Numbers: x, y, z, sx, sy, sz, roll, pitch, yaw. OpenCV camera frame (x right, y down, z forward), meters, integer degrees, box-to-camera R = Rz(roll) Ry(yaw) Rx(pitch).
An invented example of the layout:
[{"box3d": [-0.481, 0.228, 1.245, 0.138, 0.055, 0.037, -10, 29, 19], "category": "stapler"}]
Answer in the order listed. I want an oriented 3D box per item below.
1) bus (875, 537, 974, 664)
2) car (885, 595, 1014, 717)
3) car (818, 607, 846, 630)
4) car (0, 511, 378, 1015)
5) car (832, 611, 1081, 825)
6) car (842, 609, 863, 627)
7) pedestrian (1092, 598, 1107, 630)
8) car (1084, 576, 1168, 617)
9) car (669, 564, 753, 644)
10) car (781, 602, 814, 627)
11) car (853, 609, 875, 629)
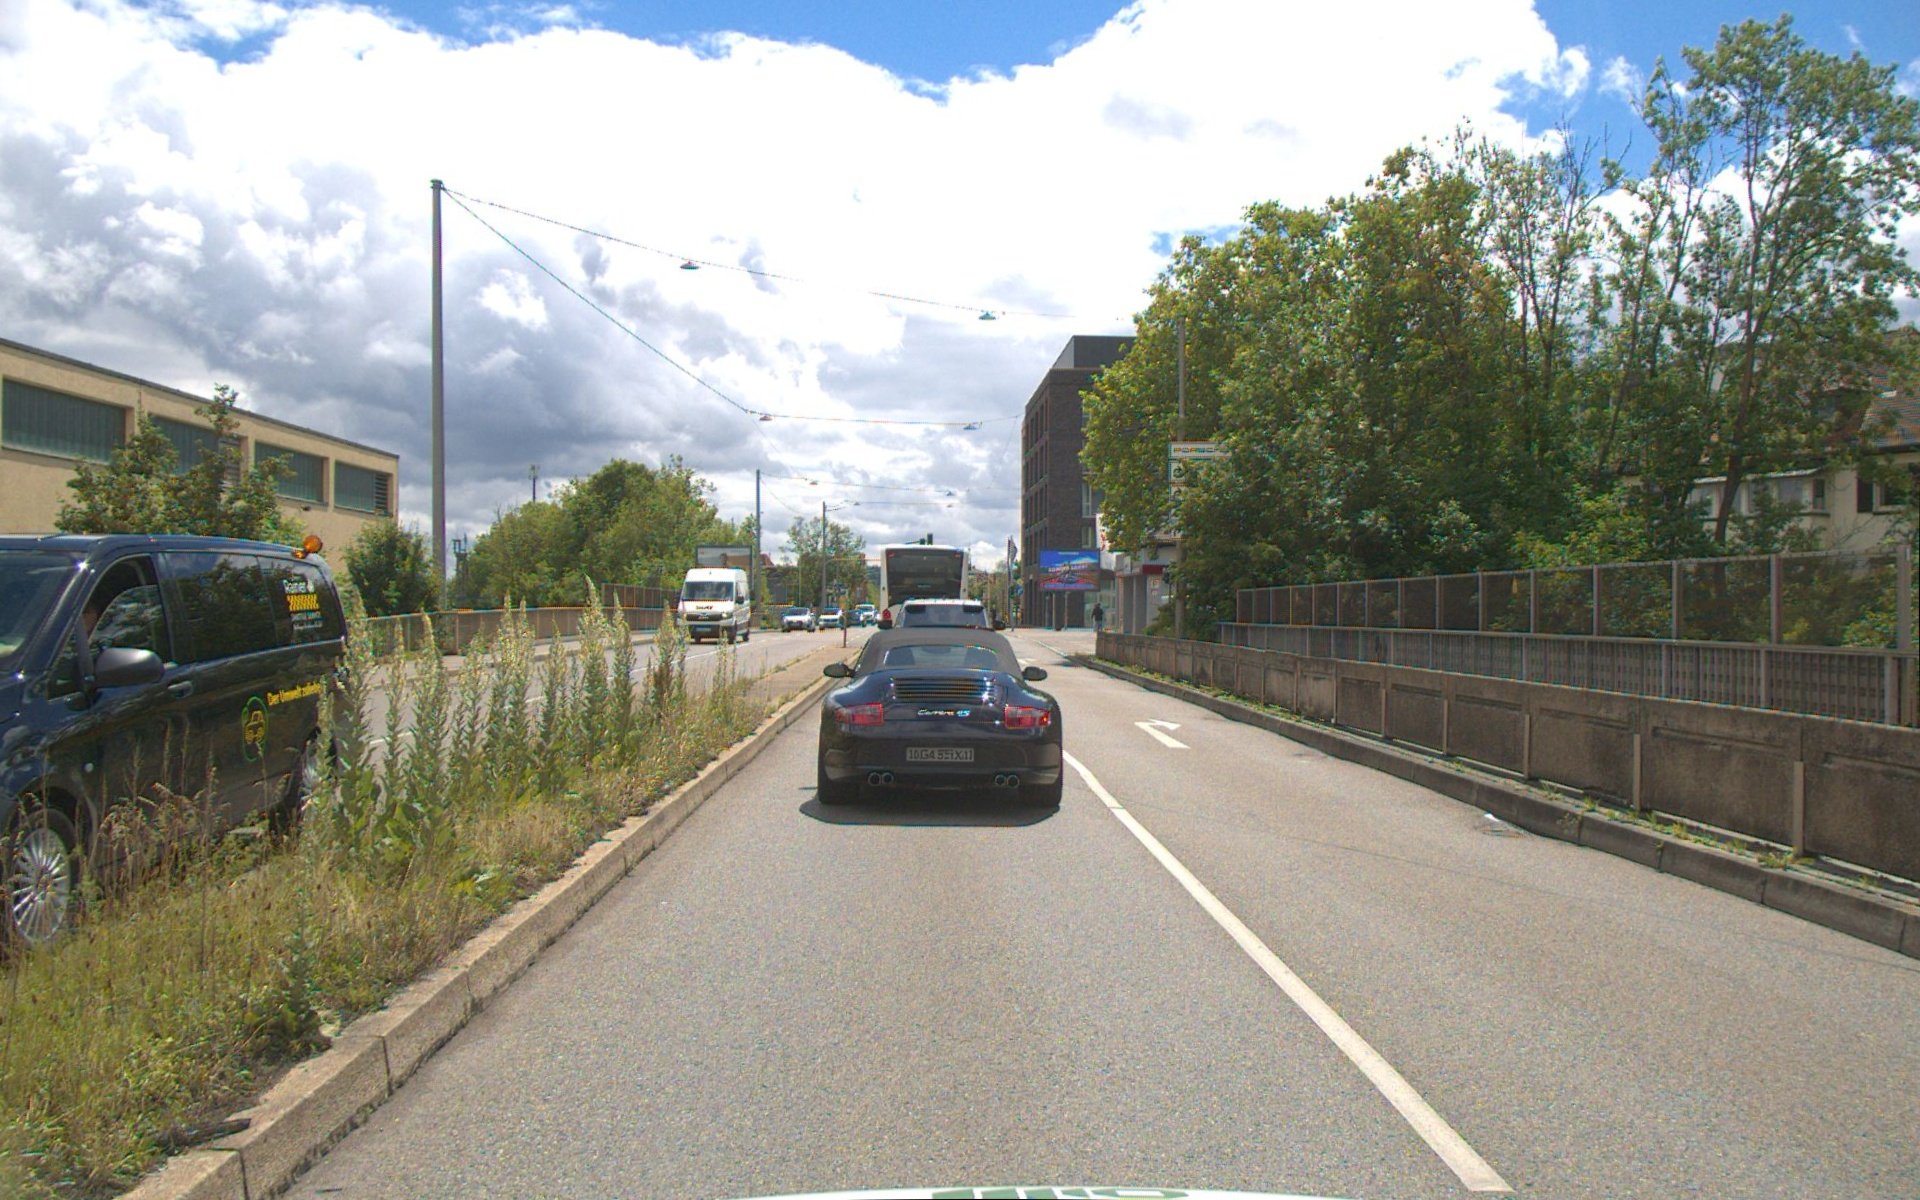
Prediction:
[{"box3d": [-1.015, -0.211, 51.899, 2.634, 3.311, 12.060, 2, 3, 0], "category": "bus"}, {"box3d": [-0.193, 0.817, 26.341, 1.841, 1.621, 4.229, 2, 1, -1], "category": "car"}, {"box3d": [-9.125, 1.332, 118.296, 1.773, 1.588, 4.205, 1, 0, -2], "category": "car"}, {"box3d": [-4.760, 0.595, 8.611, 1.954, 1.921, 4.866, 0, 1, -3], "category": "car"}, {"box3d": [-0.109, 0.825, 13.392, 1.685, 1.297, 4.086, 1, 2, -3], "category": "car"}, {"box3d": [-9.123, 1.537, 140.846, 1.595, 1.455, 3.999, 0, -1, -1], "category": "car"}, {"box3d": [7.525, 0.739, 89.140, 0.666, 1.726, 0.598, 0, -1, 24], "category": "pedestrian"}, {"box3d": [8.723, -0.180, 87.135, 4.144, 1.970, 2.029, -2, -1, 0], "category": "car"}, {"box3d": [-8.672, 0.133, 58.238, 2.025, 2.616, 6.819, -1, 0, -1], "category": "car"}, {"box3d": [-9.614, 0.846, 98.134, 1.604, 1.387, 4.193, 0, 0, -1], "category": "car"}, {"box3d": [-9.206, 1.822, 158.964, 1.863, 1.920, 5.311, -2, -1, -1], "category": "car"}]
